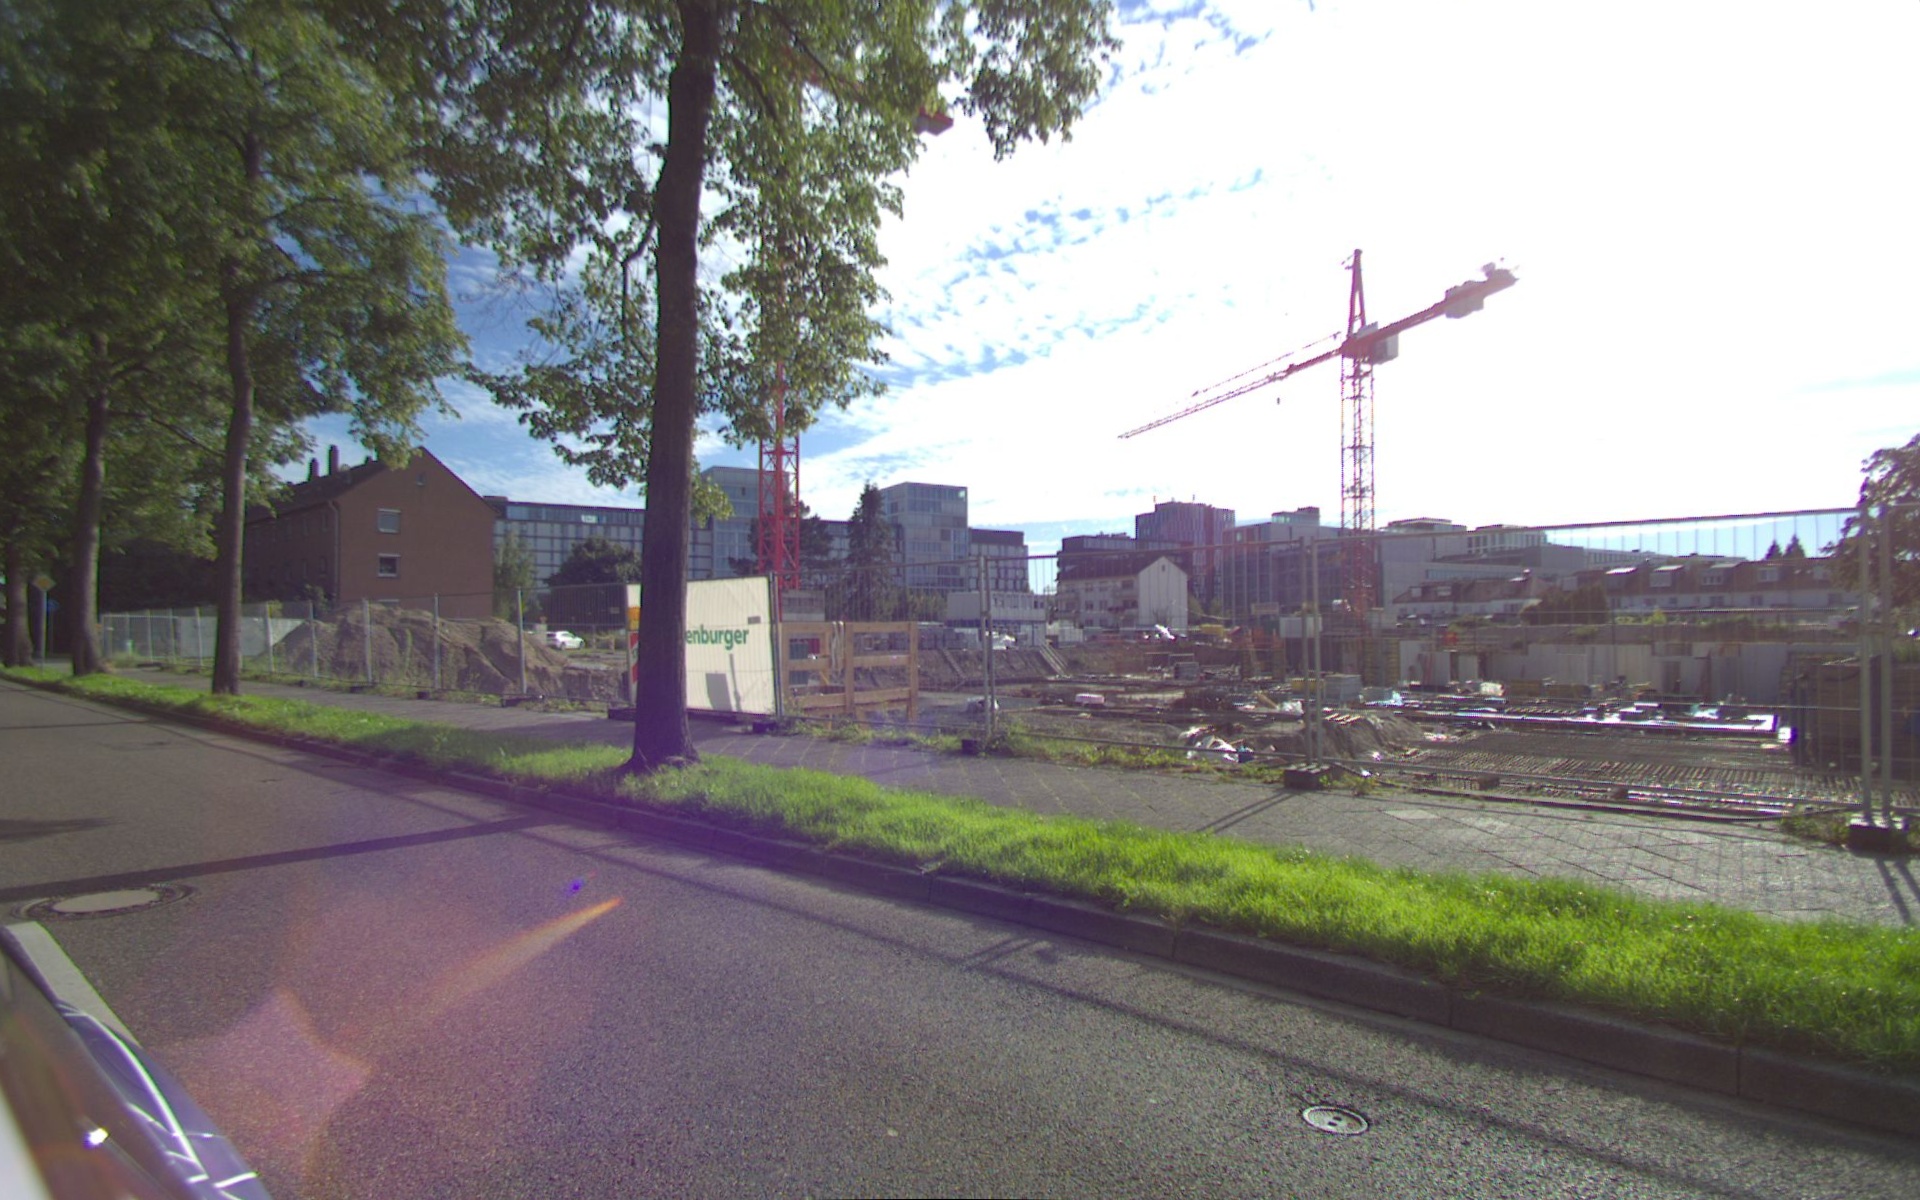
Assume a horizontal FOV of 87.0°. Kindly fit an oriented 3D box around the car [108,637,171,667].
[{"bbox_3d":[-44.190,2.782,54.454,4.507,1.439,1.972,-1,-3,43],"label":"car"}]

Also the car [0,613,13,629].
[{"bbox_3d":[-117.092,2.532,120.467,6.160,1.881,2.479,-1,-1,-3],"label":"car"}]
